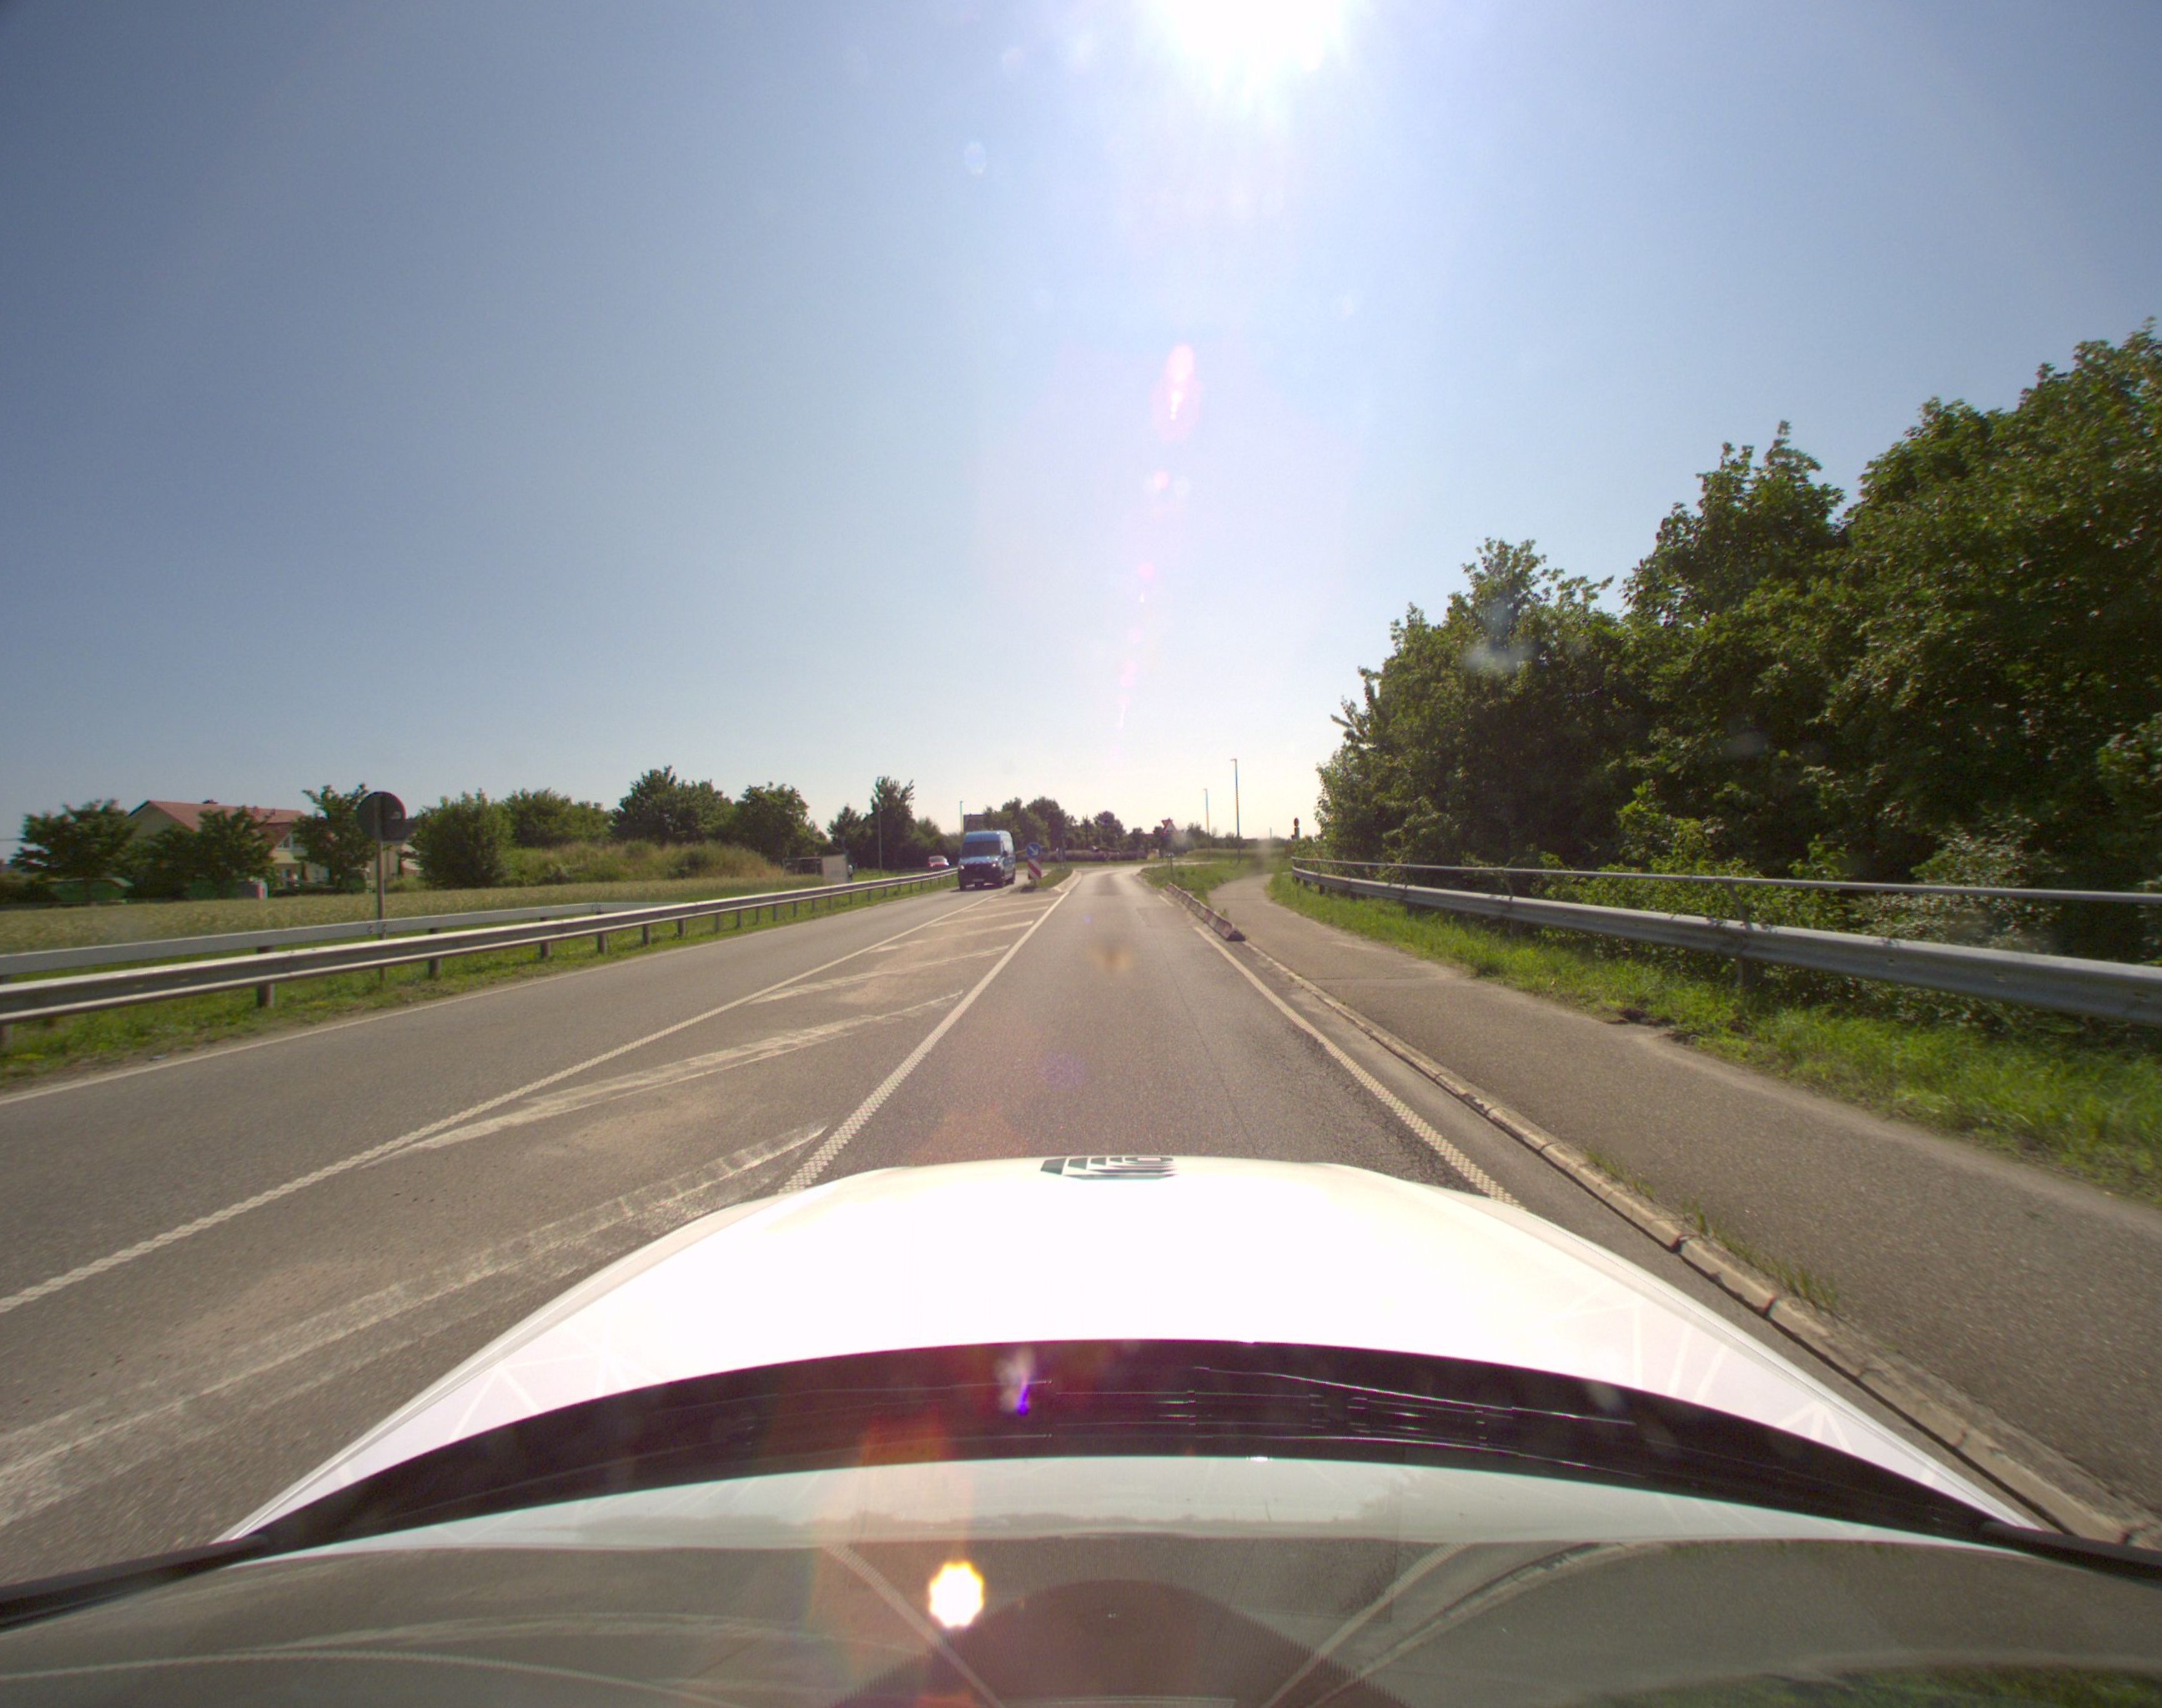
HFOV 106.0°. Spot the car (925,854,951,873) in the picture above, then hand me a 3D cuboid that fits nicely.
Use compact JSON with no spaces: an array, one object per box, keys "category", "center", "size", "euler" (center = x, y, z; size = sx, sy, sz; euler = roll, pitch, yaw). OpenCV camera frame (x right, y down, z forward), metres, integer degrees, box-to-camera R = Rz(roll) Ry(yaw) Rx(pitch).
[{"category":"car","center":[-12.434,0.835,70.583],"size":[1.631,1.491,3.780],"euler":[-3,0,-17]}]

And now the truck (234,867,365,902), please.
[{"category":"truck","center":[-66.468,2.502,69.554],"size":[7.719,2.649,2.494],"euler":[-1,0,-35]}]

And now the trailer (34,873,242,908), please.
[{"category":"trailer","center":[-73.895,2.793,64.264],"size":[10.535,2.278,1.978],"euler":[-1,0,-35]}]

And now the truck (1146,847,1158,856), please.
[{"category":"truck","center":[16.420,-0.516,187.768],"size":[1.978,2.013,4.018],"euler":[-2,0,17]}]

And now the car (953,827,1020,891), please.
[{"category":"car","center":[-4.338,0.208,38.600],"size":[1.986,2.611,7.293],"euler":[-4,0,2]}]
